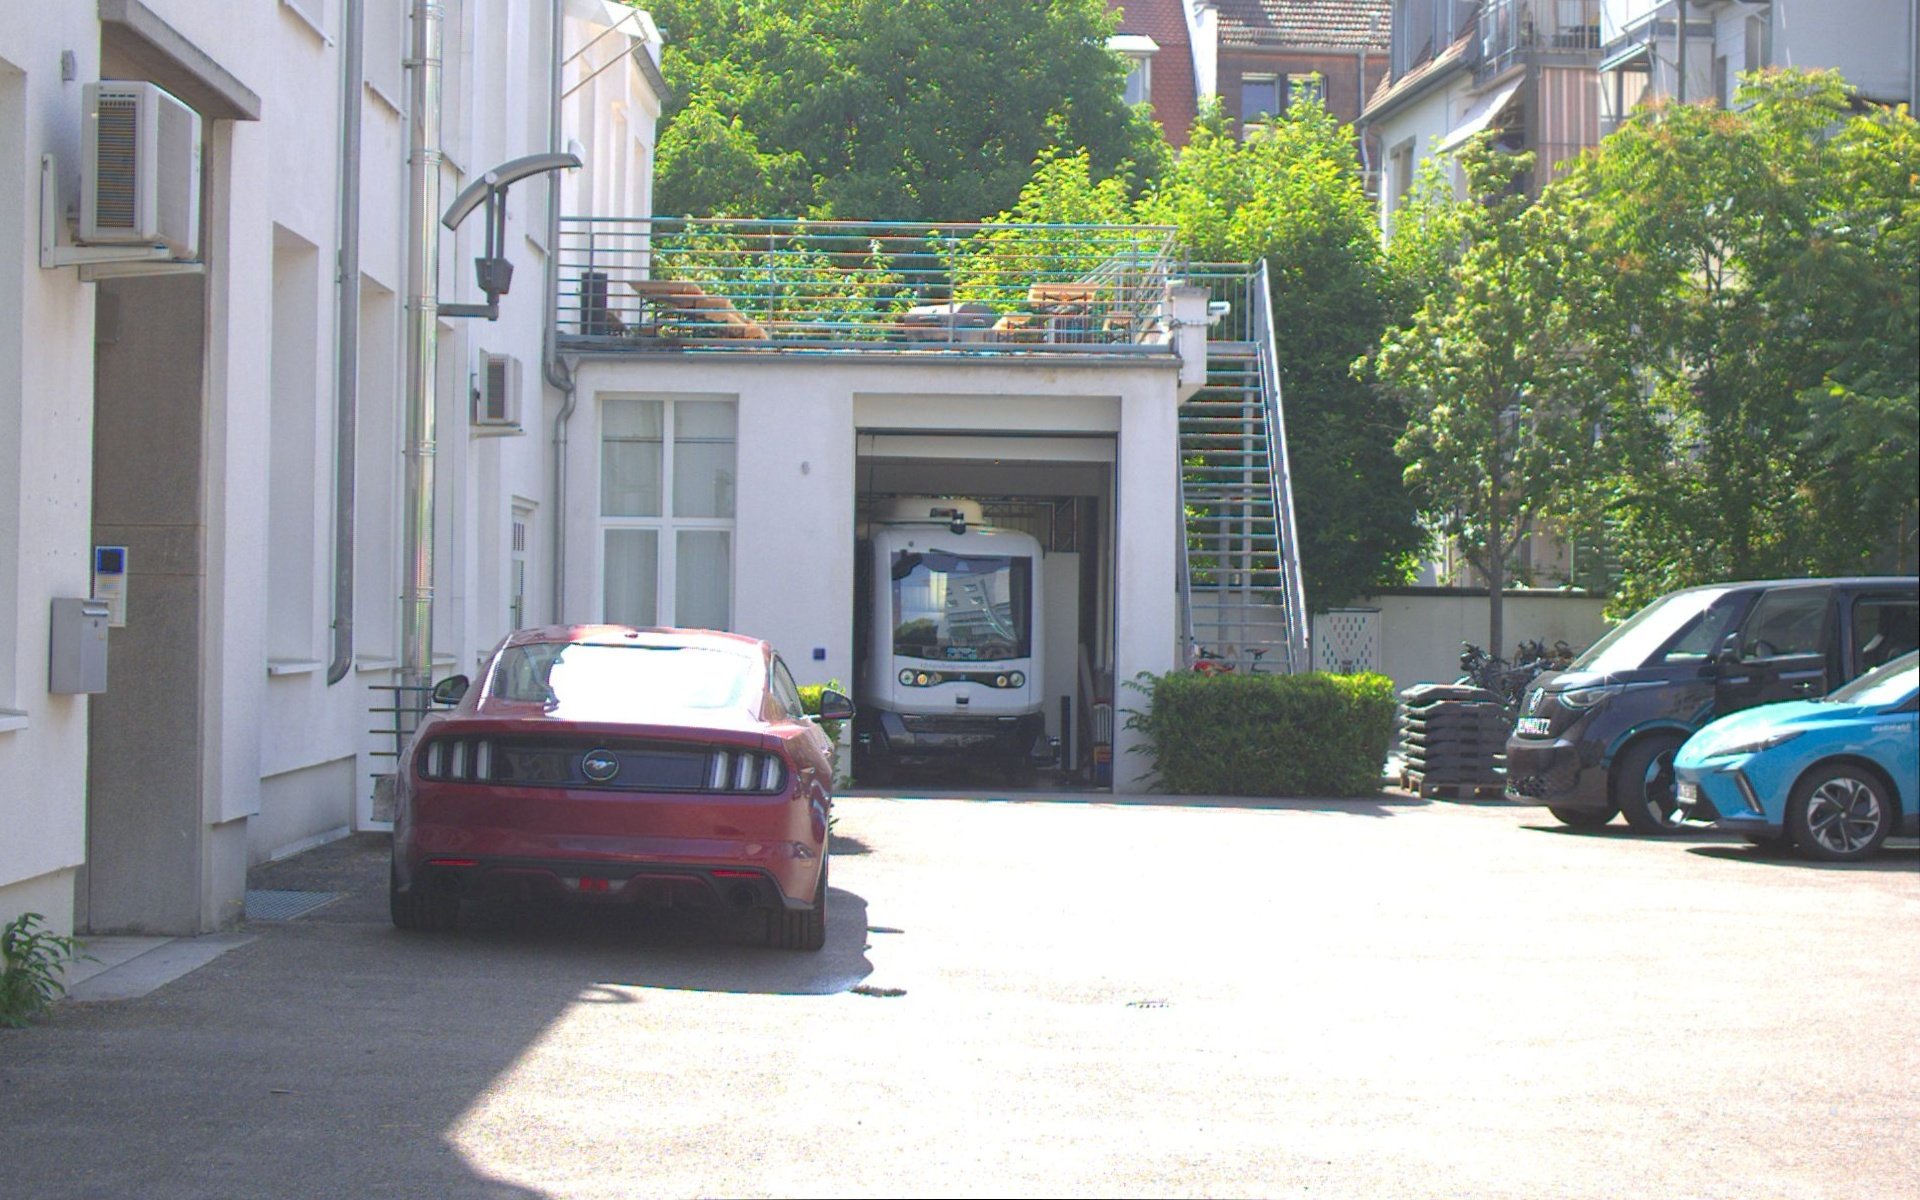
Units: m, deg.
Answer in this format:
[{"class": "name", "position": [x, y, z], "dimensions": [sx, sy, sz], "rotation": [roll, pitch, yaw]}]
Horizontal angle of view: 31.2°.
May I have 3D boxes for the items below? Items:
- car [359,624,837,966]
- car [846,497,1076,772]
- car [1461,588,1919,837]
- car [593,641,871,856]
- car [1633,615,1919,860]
[{"class": "car", "position": [-1.559, 0.818, 16.126], "dimensions": [1.852, 1.315, 4.000], "rotation": [2, 0, -1]}, {"class": "car", "position": [0.009, 0.370, 35.952], "dimensions": [2.174, 2.598, 6.734], "rotation": [0, -1, 0]}, {"class": "car", "position": [6.563, 0.804, 26.370], "dimensions": [4.950, 1.761, 2.097], "rotation": [0, 1, -12]}, {"class": "car", "position": [-1.453, 0.935, 23.043], "dimensions": [1.614, 1.291, 3.759], "rotation": [0, 0, 0]}, {"class": "car", "position": [6.871, 0.881, 23.116], "dimensions": [4.228, 1.527, 2.000], "rotation": [0, 1, -3]}]
